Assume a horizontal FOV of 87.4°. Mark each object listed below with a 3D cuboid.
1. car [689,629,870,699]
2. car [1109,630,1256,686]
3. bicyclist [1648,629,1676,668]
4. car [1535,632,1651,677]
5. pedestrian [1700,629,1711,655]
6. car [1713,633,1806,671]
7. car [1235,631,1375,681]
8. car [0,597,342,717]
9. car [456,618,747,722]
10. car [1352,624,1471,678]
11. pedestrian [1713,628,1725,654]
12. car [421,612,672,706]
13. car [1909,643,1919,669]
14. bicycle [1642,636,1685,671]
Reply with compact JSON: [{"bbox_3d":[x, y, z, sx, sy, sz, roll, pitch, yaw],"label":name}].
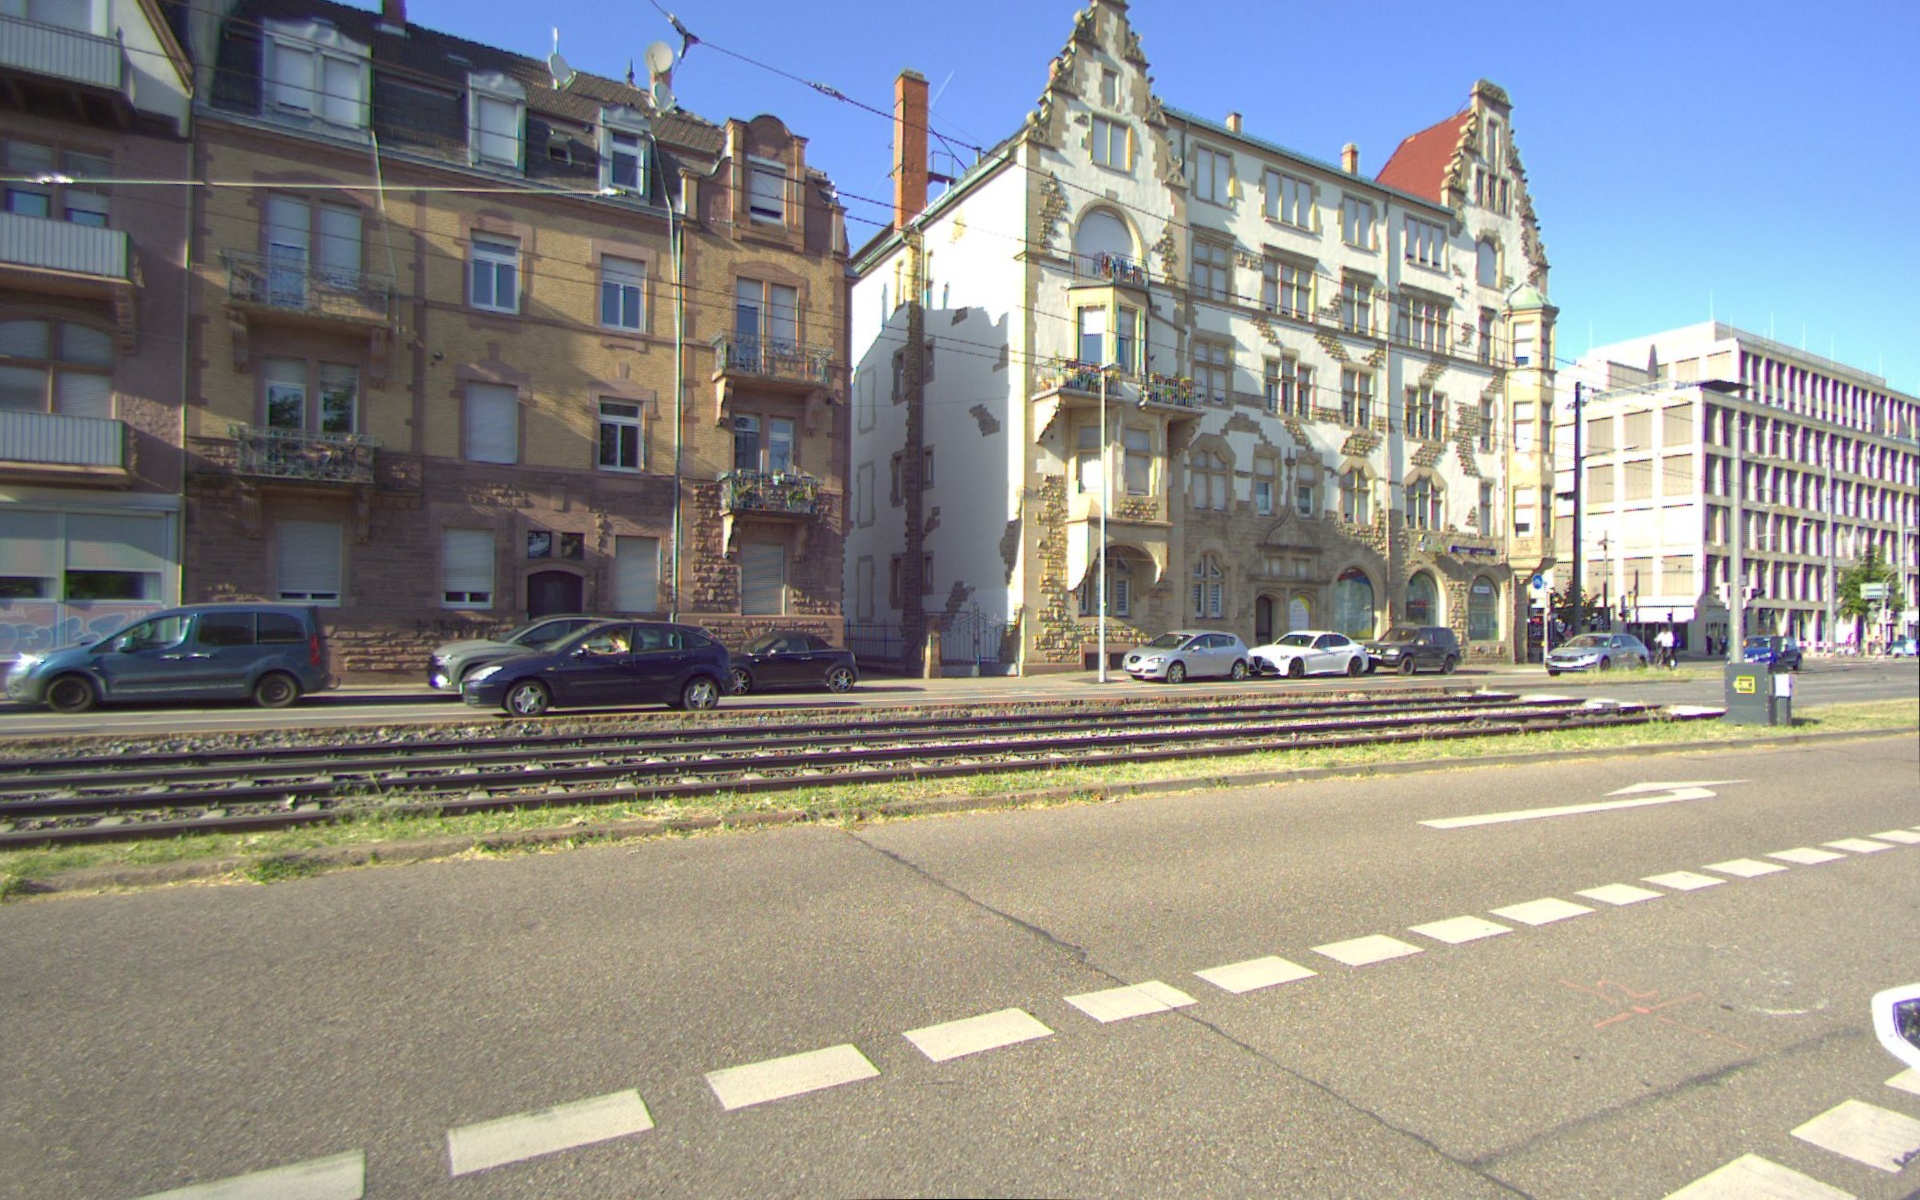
[{"bbox_3d":[-4.058,1.405,22.710,3.684,1.373,1.614,1,1,-31],"label":"car"},{"bbox_3d":[6.488,1.640,29.115,4.177,1.450,1.699,1,1,-33],"label":"car"},{"bbox_3d":[29.184,2.002,41.742,0.776,1.583,0.682,1,-2,-29],"label":"bicyclist"},{"bbox_3d":[21.814,1.847,34.573,4.496,1.476,1.808,2,-2,-35],"label":"car"},{"bbox_3d":[52.834,2.988,71.189,0.464,1.868,0.443,0,-2,22],"label":"pedestrian"},{"bbox_3d":[32.674,2.099,41.032,4.113,1.476,1.809,2,-2,-34],"label":"car"},{"bbox_3d":[11.080,1.746,32.148,4.604,1.442,1.707,1,1,-32],"label":"car"},{"bbox_3d":[-13.286,0.922,17.283,4.362,1.782,1.878,1,1,-28],"label":"car"},{"bbox_3d":[-5.697,1.069,16.074,4.118,1.476,1.811,2,-2,-31],"label":"car"},{"bbox_3d":[15.709,1.731,34.891,4.170,1.698,1.707,1,1,-32],"label":"car"},{"bbox_3d":[53.612,2.887,70.941,0.522,1.868,0.443,0,-2,22],"label":"pedestrian"},{"bbox_3d":[-8.319,1.132,20.303,4.451,1.644,1.846,1,1,-31],"label":"car"},{"bbox_3d":[57.115,3.283,58.461,4.112,1.476,1.810,2,-2,-33],"label":"car"},{"bbox_3d":[29.299,2.216,41.811,1.923,1.400,0.682,1,-2,-29],"label":"bicycle"}]
